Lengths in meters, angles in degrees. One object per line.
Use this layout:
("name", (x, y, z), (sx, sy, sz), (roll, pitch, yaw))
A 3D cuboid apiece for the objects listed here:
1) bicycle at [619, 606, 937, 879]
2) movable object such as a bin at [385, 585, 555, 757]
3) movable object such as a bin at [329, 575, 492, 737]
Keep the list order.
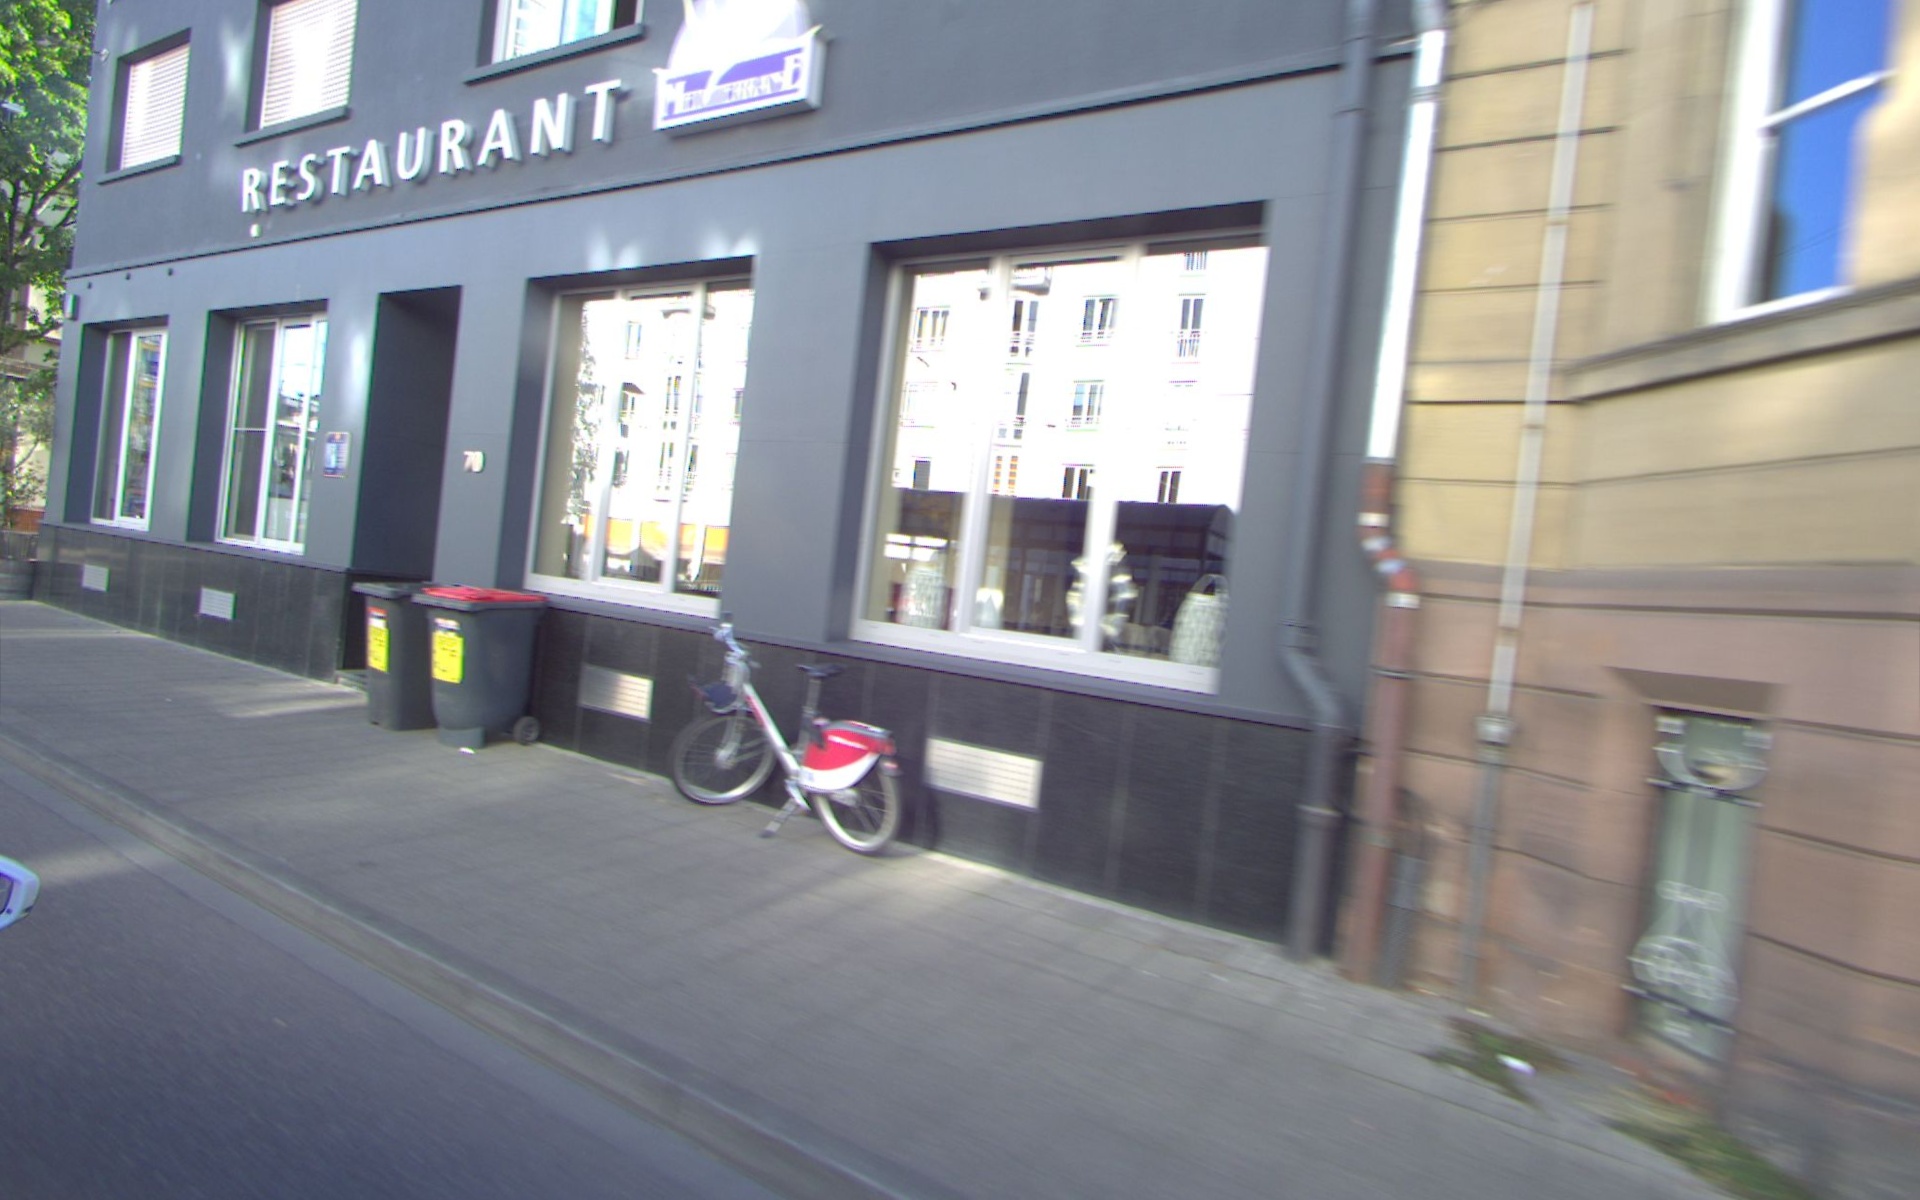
("bicycle", (-1.025, 0.690, 5.420), (1.744, 1.137, 0.459), (6, 2, 32))
("movable object such as a bin", (-3.379, 0.455, 6.952), (0.741, 1.051, 0.748), (7, 4, 32))
("movable object such as a bin", (-4.010, 0.381, 7.355), (0.741, 1.051, 0.748), (7, 4, 32))
